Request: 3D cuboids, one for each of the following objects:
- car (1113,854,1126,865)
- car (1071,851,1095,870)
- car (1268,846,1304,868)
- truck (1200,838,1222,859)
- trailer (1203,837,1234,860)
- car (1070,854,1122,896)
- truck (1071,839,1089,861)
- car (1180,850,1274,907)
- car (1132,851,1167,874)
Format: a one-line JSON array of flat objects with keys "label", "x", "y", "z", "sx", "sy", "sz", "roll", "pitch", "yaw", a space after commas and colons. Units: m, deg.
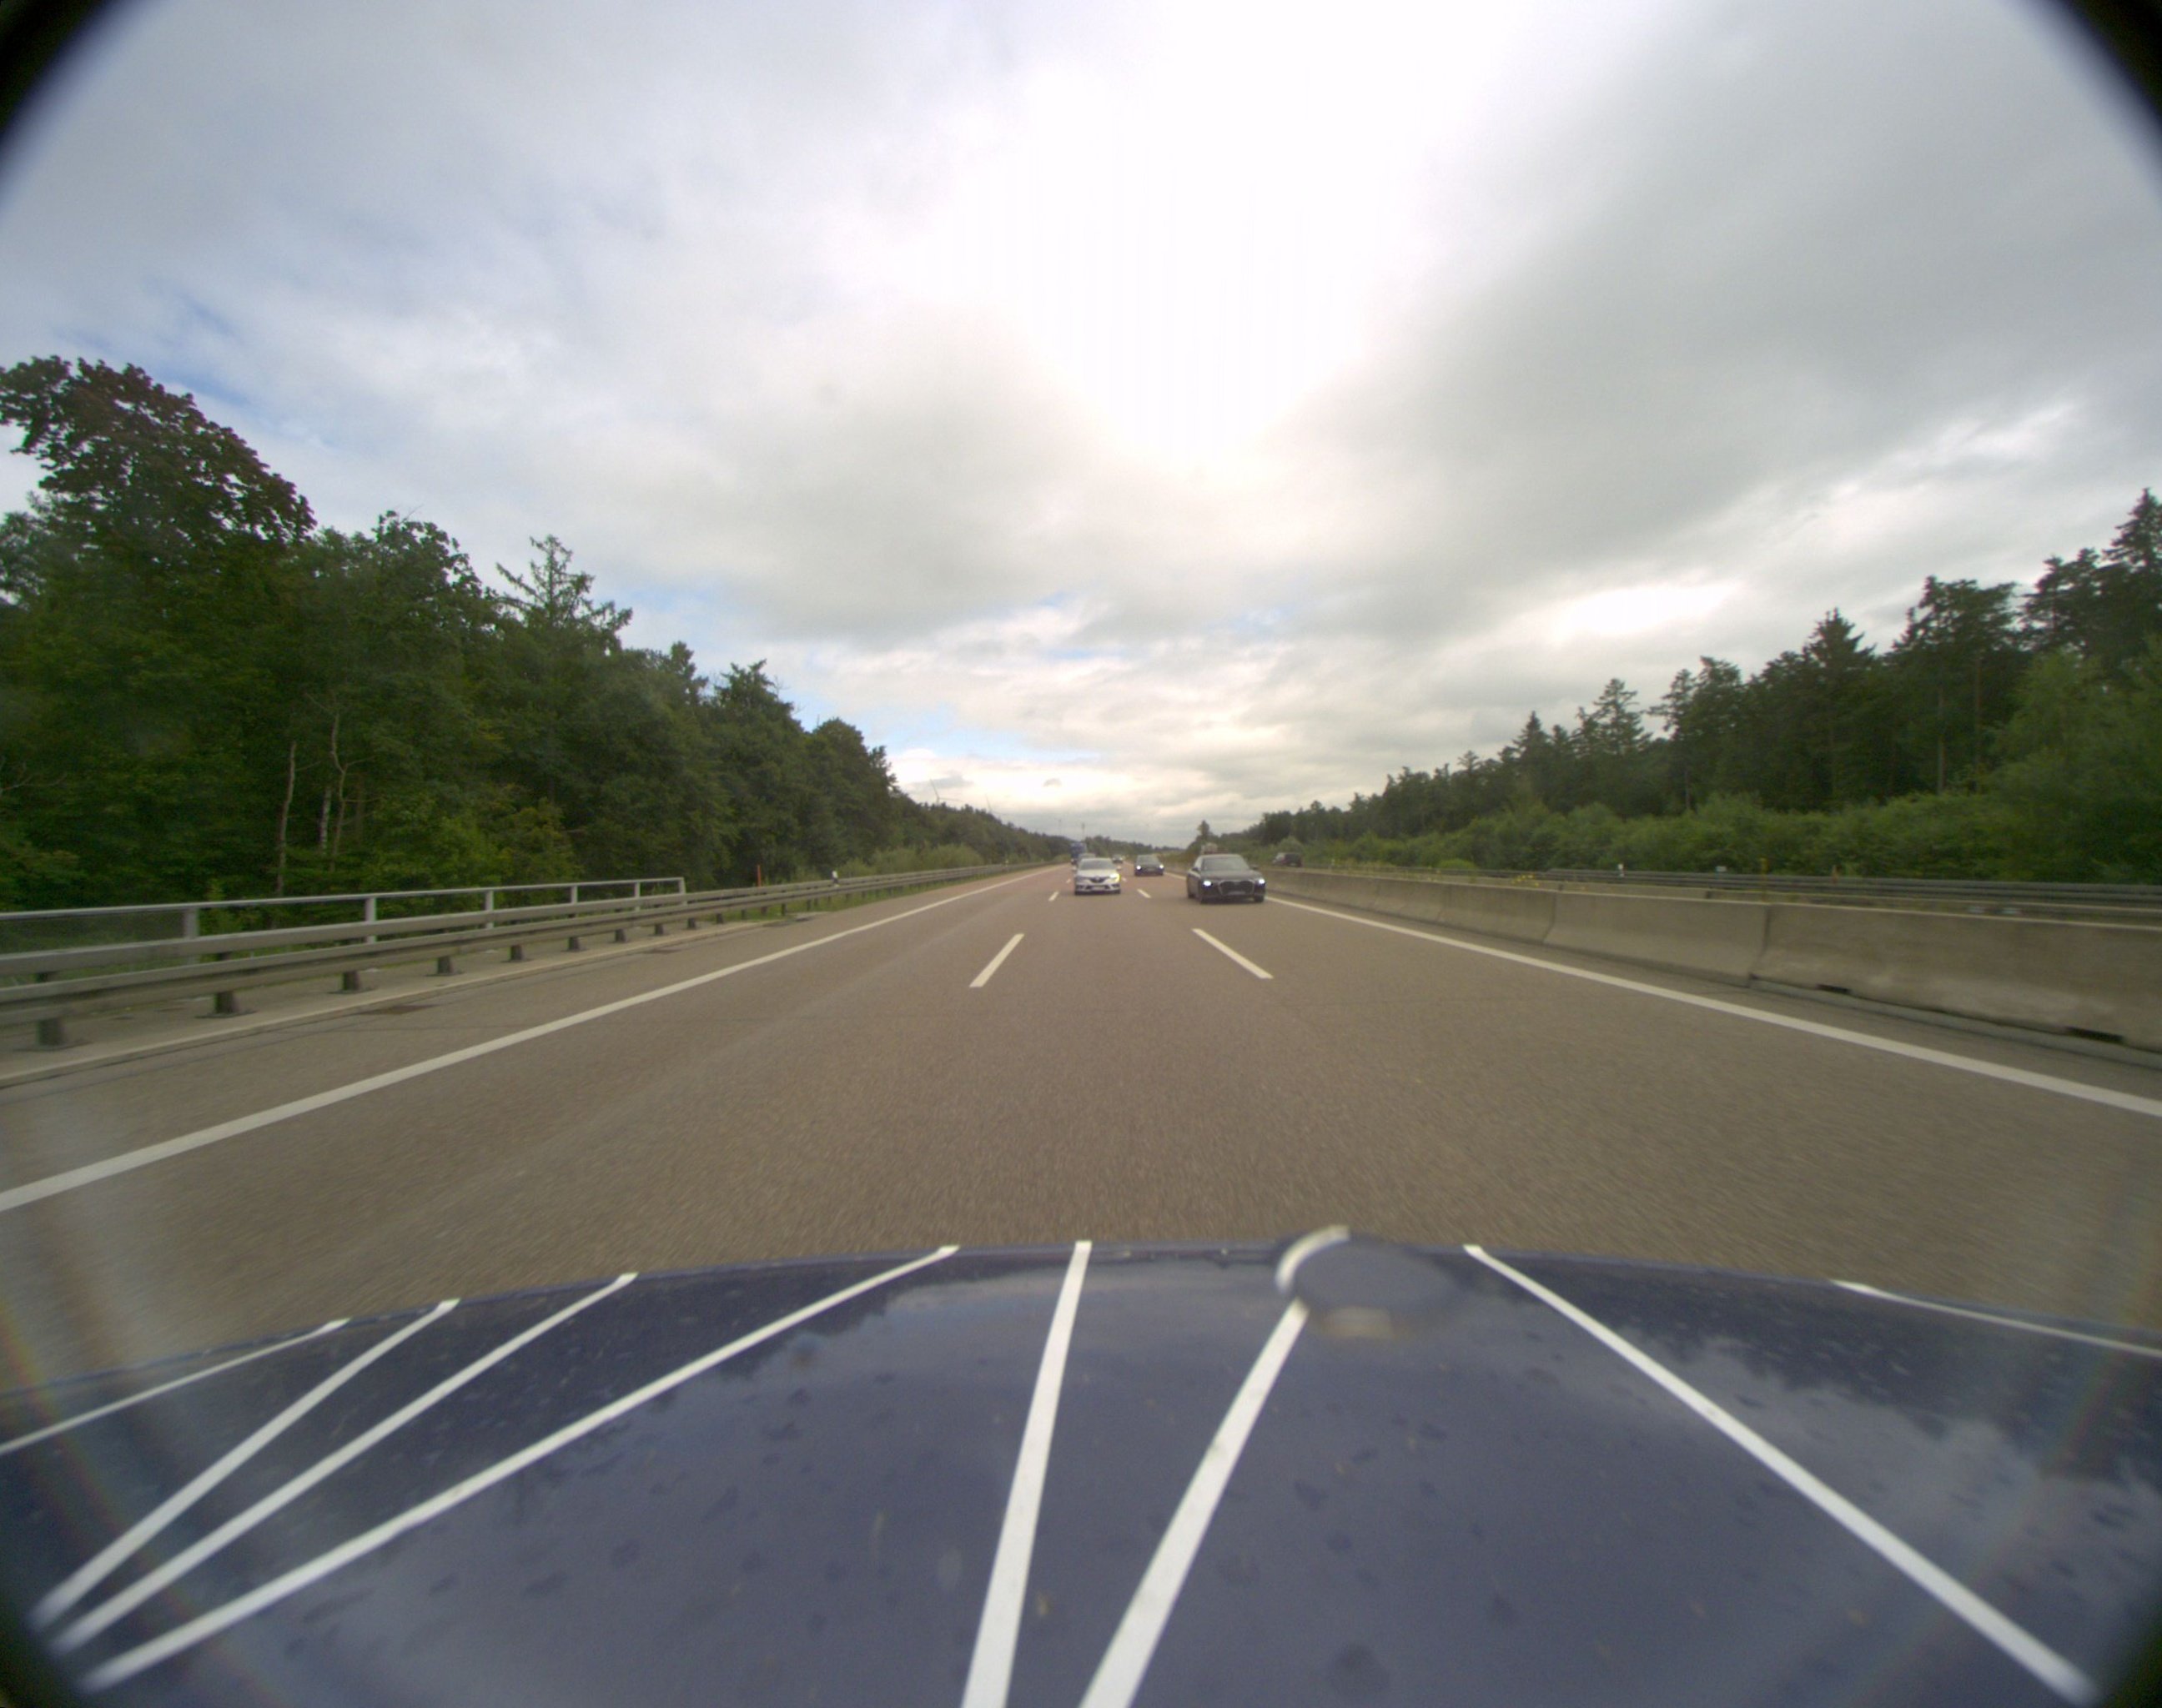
[{"label": "car", "x": 6.824, "y": 0.925, "z": 134.614, "sx": 1.998, "sy": 1.689, "sz": 5.251, "roll": -2, "pitch": 1, "yaw": 0}, {"label": "car", "x": 0.198, "y": 0.534, "z": 67.249, "sx": 1.986, "sy": 1.499, "sz": 4.052, "roll": -2, "pitch": 1, "yaw": 2}, {"label": "car", "x": 21.015, "y": 0.286, "z": 77.955, "sx": 2.260, "sy": 2.002, "sz": 5.268, "roll": -4, "pitch": 0, "yaw": 1}, {"label": "truck", "x": 22.638, "y": -0.945, "z": 132.401, "sx": 2.941, "sy": 3.399, "sz": 5.344, "roll": -2, "pitch": 0, "yaw": 2}, {"label": "trailer", "x": 22.439, "y": -0.908, "z": 125.095, "sx": 2.941, "sy": 3.399, "sz": 13.270, "roll": -2, "pitch": 0, "yaw": 2}, {"label": "car", "x": 0.637, "y": 0.814, "z": 30.995, "sx": 1.923, "sy": 1.516, "sz": 4.000, "roll": -2, "pitch": 0, "yaw": 2}, {"label": "truck", "x": -0.112, "y": -0.745, "z": 144.059, "sx": 2.956, "sy": 3.705, "sz": 7.949, "roll": -5, "pitch": 0, "yaw": 0}, {"label": "car", "x": 4.481, "y": 0.676, "z": 24.297, "sx": 2.090, "sy": 1.541, "sz": 5.674, "roll": -2, "pitch": 0, "yaw": 2}, {"label": "car", "x": 4.890, "y": 0.594, "z": 54.824, "sx": 2.064, "sy": 1.483, "sz": 5.452, "roll": -2, "pitch": 1, "yaw": 1}]
